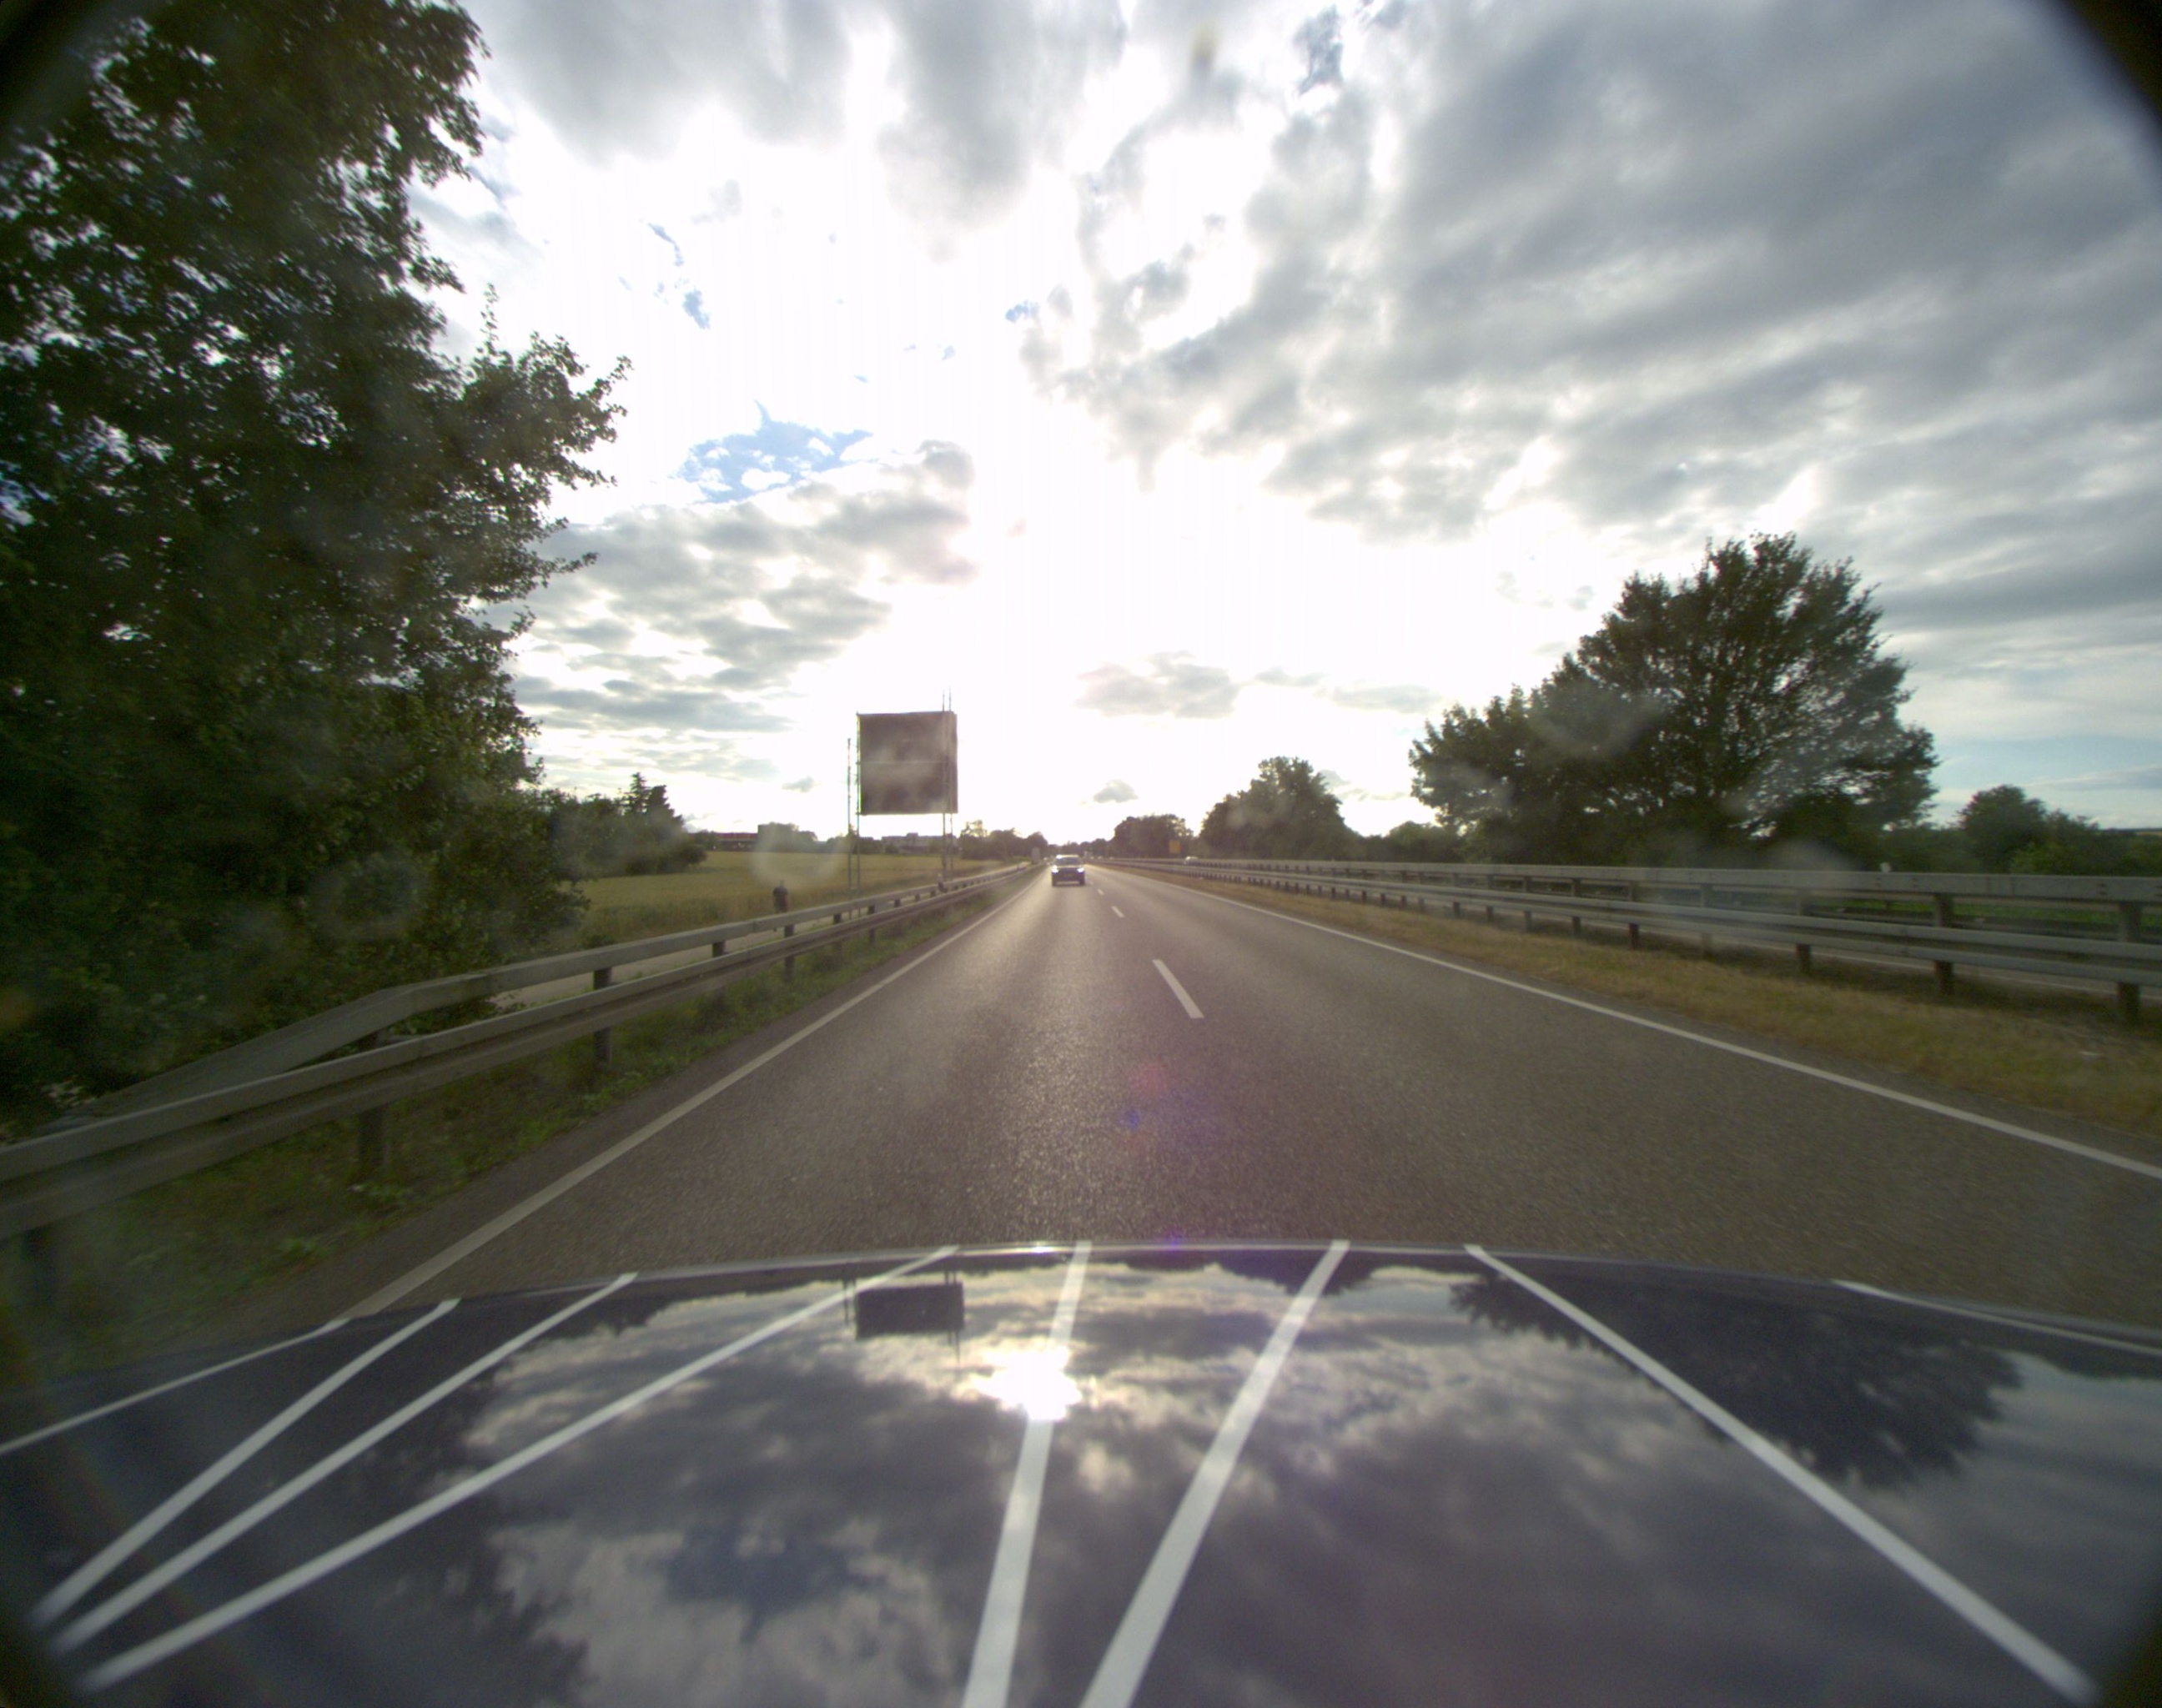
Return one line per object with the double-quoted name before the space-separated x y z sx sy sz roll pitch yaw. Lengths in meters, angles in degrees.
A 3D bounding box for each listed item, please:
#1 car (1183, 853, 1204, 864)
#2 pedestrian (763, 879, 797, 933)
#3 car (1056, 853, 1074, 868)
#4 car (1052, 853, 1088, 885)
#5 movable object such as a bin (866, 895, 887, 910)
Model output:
"car" 13.576 0.509 92.242 1.786 1.344 4.576 -1 0 -1
"pedestrian" -10.914 1.872 27.584 0.773 1.857 0.940 -3 1 -1
"car" -1.658 0.653 78.471 1.776 1.389 3.999 -2 0 -2
"car" -0.643 0.809 43.205 1.863 1.636 3.999 -2 1 -1
"movable object such as a bin" -10.358 2.453 38.481 0.734 0.642 1.235 -3 1 -1
